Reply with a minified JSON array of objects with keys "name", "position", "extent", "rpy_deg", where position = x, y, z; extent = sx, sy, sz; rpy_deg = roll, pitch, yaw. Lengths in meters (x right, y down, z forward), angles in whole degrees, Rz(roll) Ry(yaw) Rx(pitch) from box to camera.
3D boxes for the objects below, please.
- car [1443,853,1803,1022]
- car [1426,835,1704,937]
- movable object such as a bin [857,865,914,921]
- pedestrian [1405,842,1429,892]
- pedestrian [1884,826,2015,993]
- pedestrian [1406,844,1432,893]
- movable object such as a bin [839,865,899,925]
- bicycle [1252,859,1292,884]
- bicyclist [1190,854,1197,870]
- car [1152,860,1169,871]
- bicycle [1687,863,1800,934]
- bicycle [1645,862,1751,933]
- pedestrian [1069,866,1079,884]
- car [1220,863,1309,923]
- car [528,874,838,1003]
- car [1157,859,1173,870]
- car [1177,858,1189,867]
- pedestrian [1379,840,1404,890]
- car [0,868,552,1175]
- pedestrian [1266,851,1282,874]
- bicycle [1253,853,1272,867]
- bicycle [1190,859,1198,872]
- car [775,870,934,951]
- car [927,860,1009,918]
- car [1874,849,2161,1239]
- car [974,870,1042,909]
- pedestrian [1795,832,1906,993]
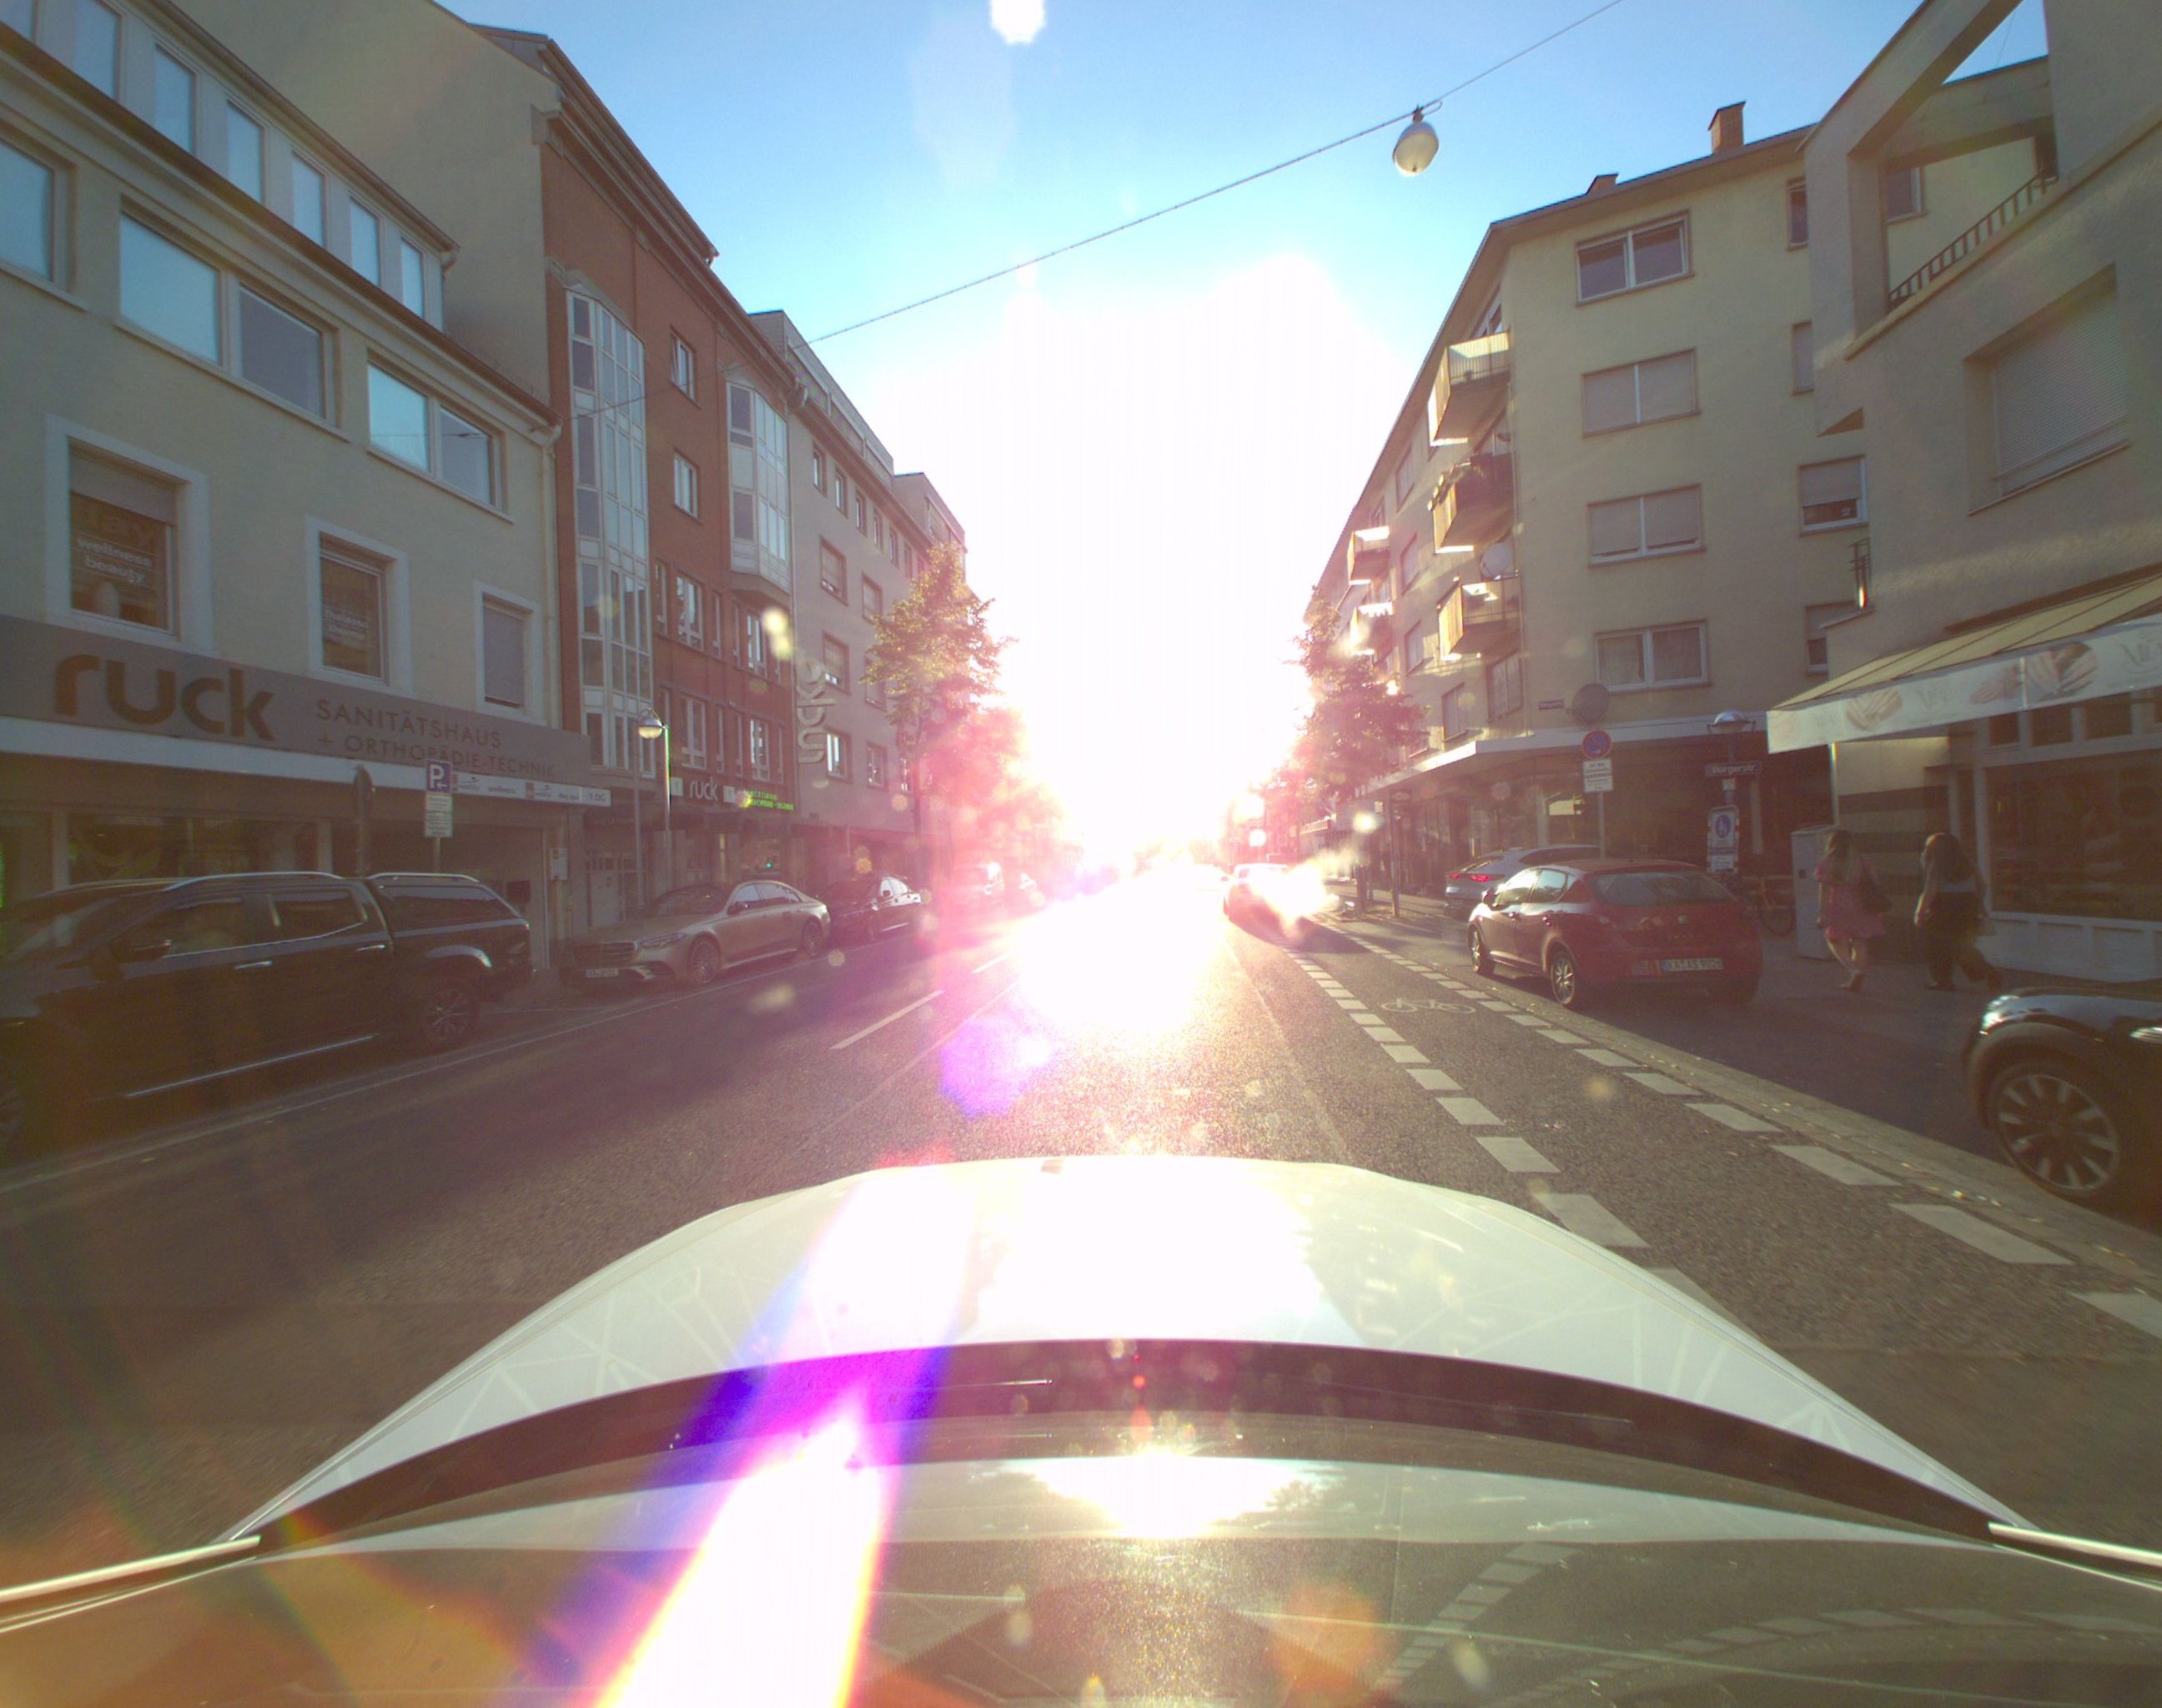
[{"name":"car","position":[5.711,0.759,9.283],"extent":[1.713,1.421,4.039],"rpy_deg":[-3,-1,7]},{"name":"car","position":[9.147,0.588,15.667],"extent":[4.155,1.611,1.857],"rpy_deg":[-3,-1,1]},{"name":"movable object such as a bin","position":[-6.067,1.189,25.367],"extent":[1.275,1.673,1.442],"rpy_deg":[1,-1,5]},{"name":"pedestrian","position":[11.980,0.460,29.028],"extent":[0.580,1.783,0.526],"rpy_deg":[-1,0,-12]},{"name":"pedestrian","position":[8.349,0.519,7.854],"extent":[0.536,1.530,0.653],"rpy_deg":[-2,-1,12]},{"name":"pedestrian","position":[11.578,0.490,27.931],"extent":[0.638,1.660,0.779],"rpy_deg":[-1,0,7]},{"name":"movable object such as a bin","position":[-6.201,1.177,23.938],"extent":[1.274,1.673,1.371],"rpy_deg":[1,-1,5]},{"name":"bicycle","position":[9.719,0.887,41.370],"extent":[1.901,1.203,0.471],"rpy_deg":[-3,-1,9]},{"name":"bicyclist","position":[12.611,0.921,91.094],"extent":[0.674,1.707,0.671],"rpy_deg":[-3,-1,9]},{"name":"car","position":[12.514,1.778,127.669],"extent":[2.291,1.678,5.544],"rpy_deg":[-3,-1,8]},{"name":"bicycle","position":[10.539,0.671,13.036],"extent":[0.389,1.033,1.846],"rpy_deg":[-2,-1,4]},{"name":"bicycle","position":[9.868,0.663,13.103],"extent":[0.389,1.050,1.846],"rpy_deg":[-2,-1,4]},{"name":"pedestrian","position":[-0.652,1.820,71.618],"extent":[0.697,1.548,0.867],"rpy_deg":[-3,-1,-9]},{"name":"car","position":[4.695,0.951,21.424],"extent":[1.791,1.378,4.560],"rpy_deg":[-1,0,7]},{"name":"car","position":[-6.103,1.203,13.423],"extent":[1.982,1.511,5.124],"rpy_deg":[-3,-1,8]},{"name":"car","position":[14.001,1.756,135.150],"extent":[2.291,1.678,5.544],"rpy_deg":[-3,-1,8]},{"name":"car","position":[21.147,1.804,168.988],"extent":[2.291,1.678,5.544],"rpy_deg":[-3,-1,8]},{"name":"pedestrian","position":[11.407,0.386,29.949],"extent":[0.704,1.807,0.651],"rpy_deg":[-1,0,7]},{"name":"car","position":[-7.298,1.094,6.682],"extent":[1.984,1.769,5.308],"rpy_deg":[-3,-1,6]},{"name":"pedestrian","position":[14.796,0.660,62.399],"extent":[0.796,1.726,1.000],"rpy_deg":[-5,-2,35]},{"name":"bicycle","position":[21.412,0.698,96.063],"extent":[2.207,1.523,0.683],"rpy_deg":[-3,-1,12]},{"name":"bicycle","position":[12.642,1.255,91.120],"extent":[0.674,1.402,2.235],"rpy_deg":[-3,-1,9]},{"name":"car","position":[-5.169,1.237,19.349],"extent":[1.905,1.511,4.648],"rpy_deg":[-3,-1,7]},{"name":"car","position":[-3.880,1.161,28.709],"extent":[1.906,1.787,4.153],"rpy_deg":[-3,-1,4]},{"name":"car","position":[4.858,0.707,2.338],"extent":[1.713,1.421,3.755],"rpy_deg":[-3,-1,6]},{"name":"car","position":[-3.023,1.452,34.659],"extent":[1.905,1.386,4.390],"rpy_deg":[-3,-1,7]},{"name":"pedestrian","position":[7.603,0.564,8.070],"extent":[0.536,1.530,0.556],"rpy_deg":[-2,-1,12]}]
